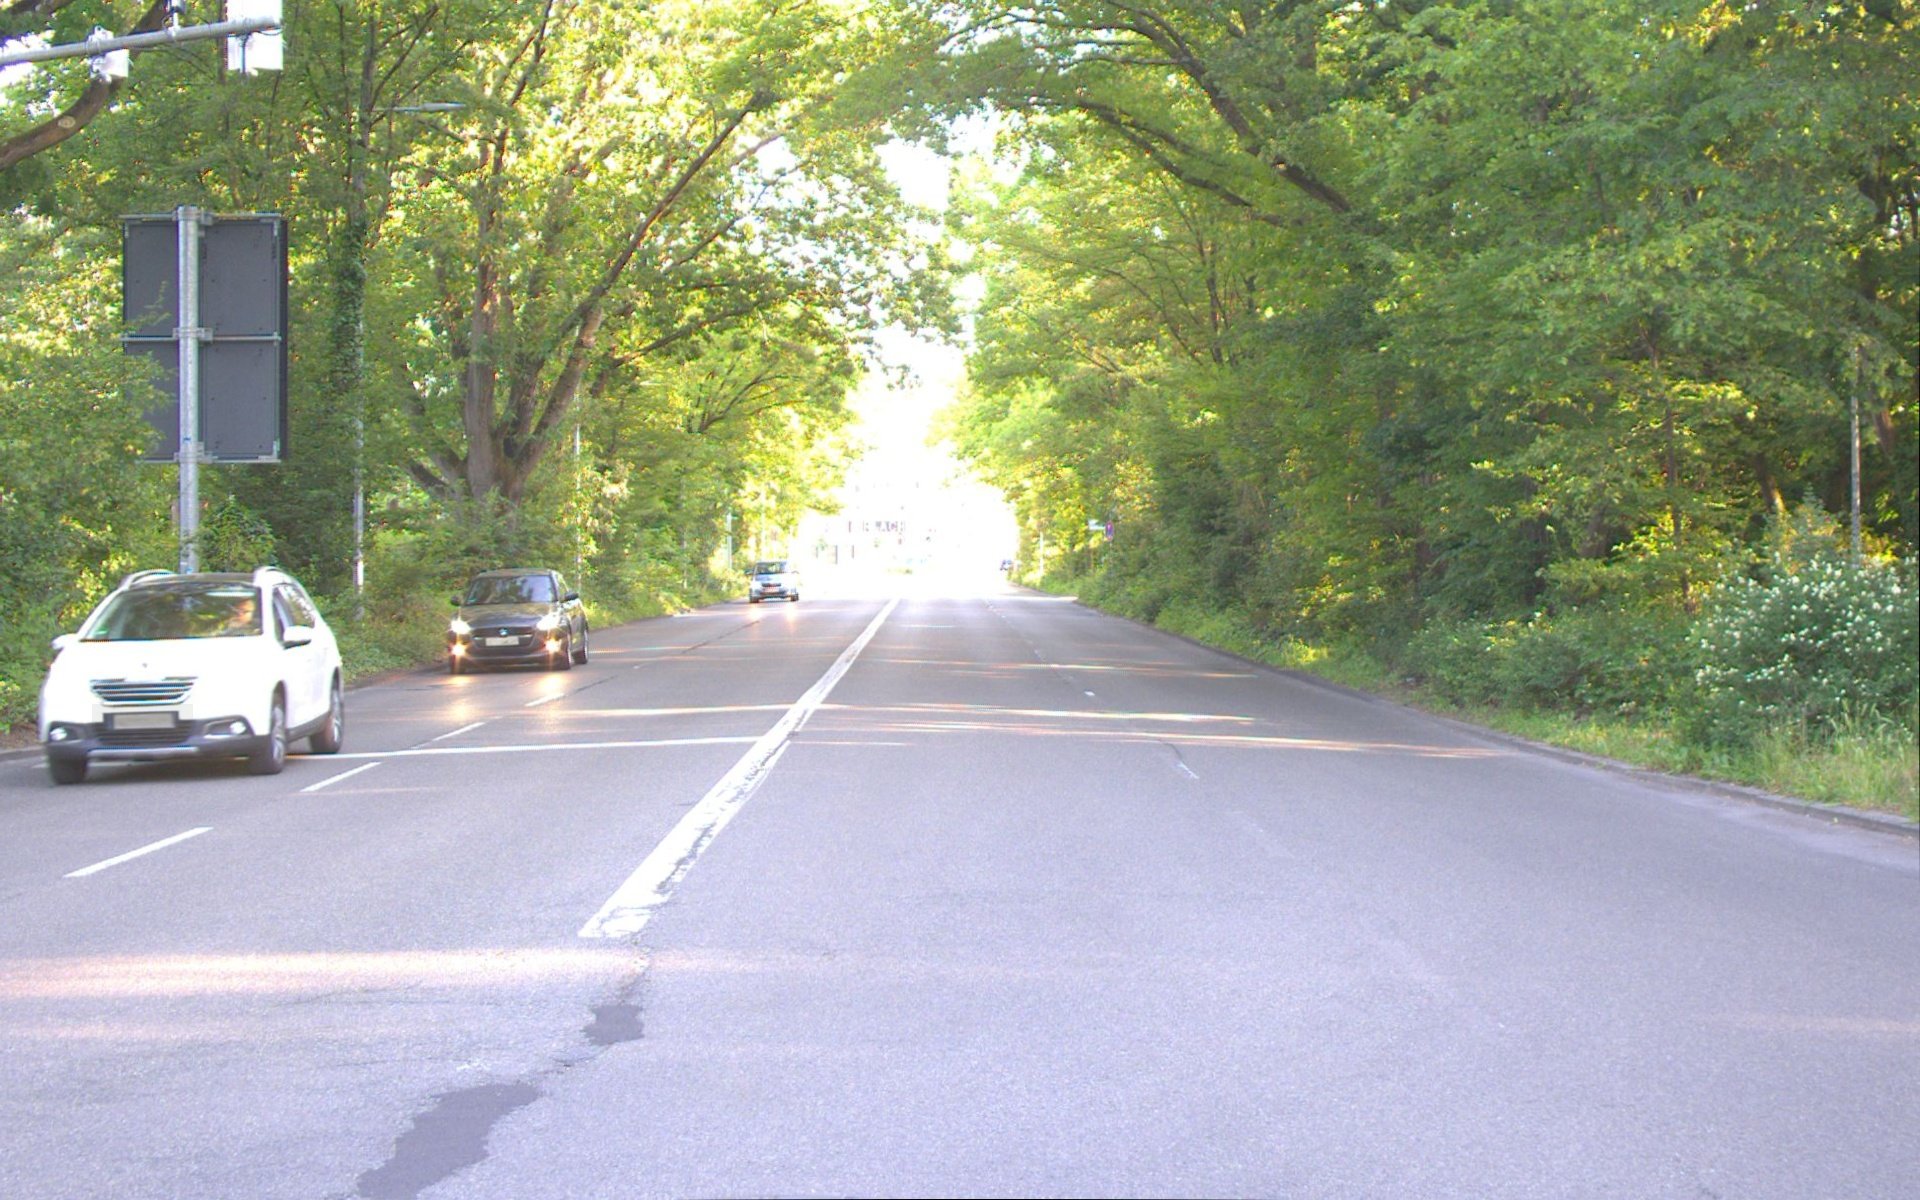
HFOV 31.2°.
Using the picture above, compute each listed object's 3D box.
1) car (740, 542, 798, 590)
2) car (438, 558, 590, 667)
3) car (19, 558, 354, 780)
[{"bbox_3d":[-6.707,-1.213,121.049,1.806,1.574,4.319,-2,1,0],"label":"car"},{"bbox_3d":[-6.440,0.151,49.962,1.707,1.448,3.640,-2,1,0],"label":"car"},{"bbox_3d":[-5.883,0.470,26.572,1.677,1.518,3.902,-2,1,0],"label":"car"}]
